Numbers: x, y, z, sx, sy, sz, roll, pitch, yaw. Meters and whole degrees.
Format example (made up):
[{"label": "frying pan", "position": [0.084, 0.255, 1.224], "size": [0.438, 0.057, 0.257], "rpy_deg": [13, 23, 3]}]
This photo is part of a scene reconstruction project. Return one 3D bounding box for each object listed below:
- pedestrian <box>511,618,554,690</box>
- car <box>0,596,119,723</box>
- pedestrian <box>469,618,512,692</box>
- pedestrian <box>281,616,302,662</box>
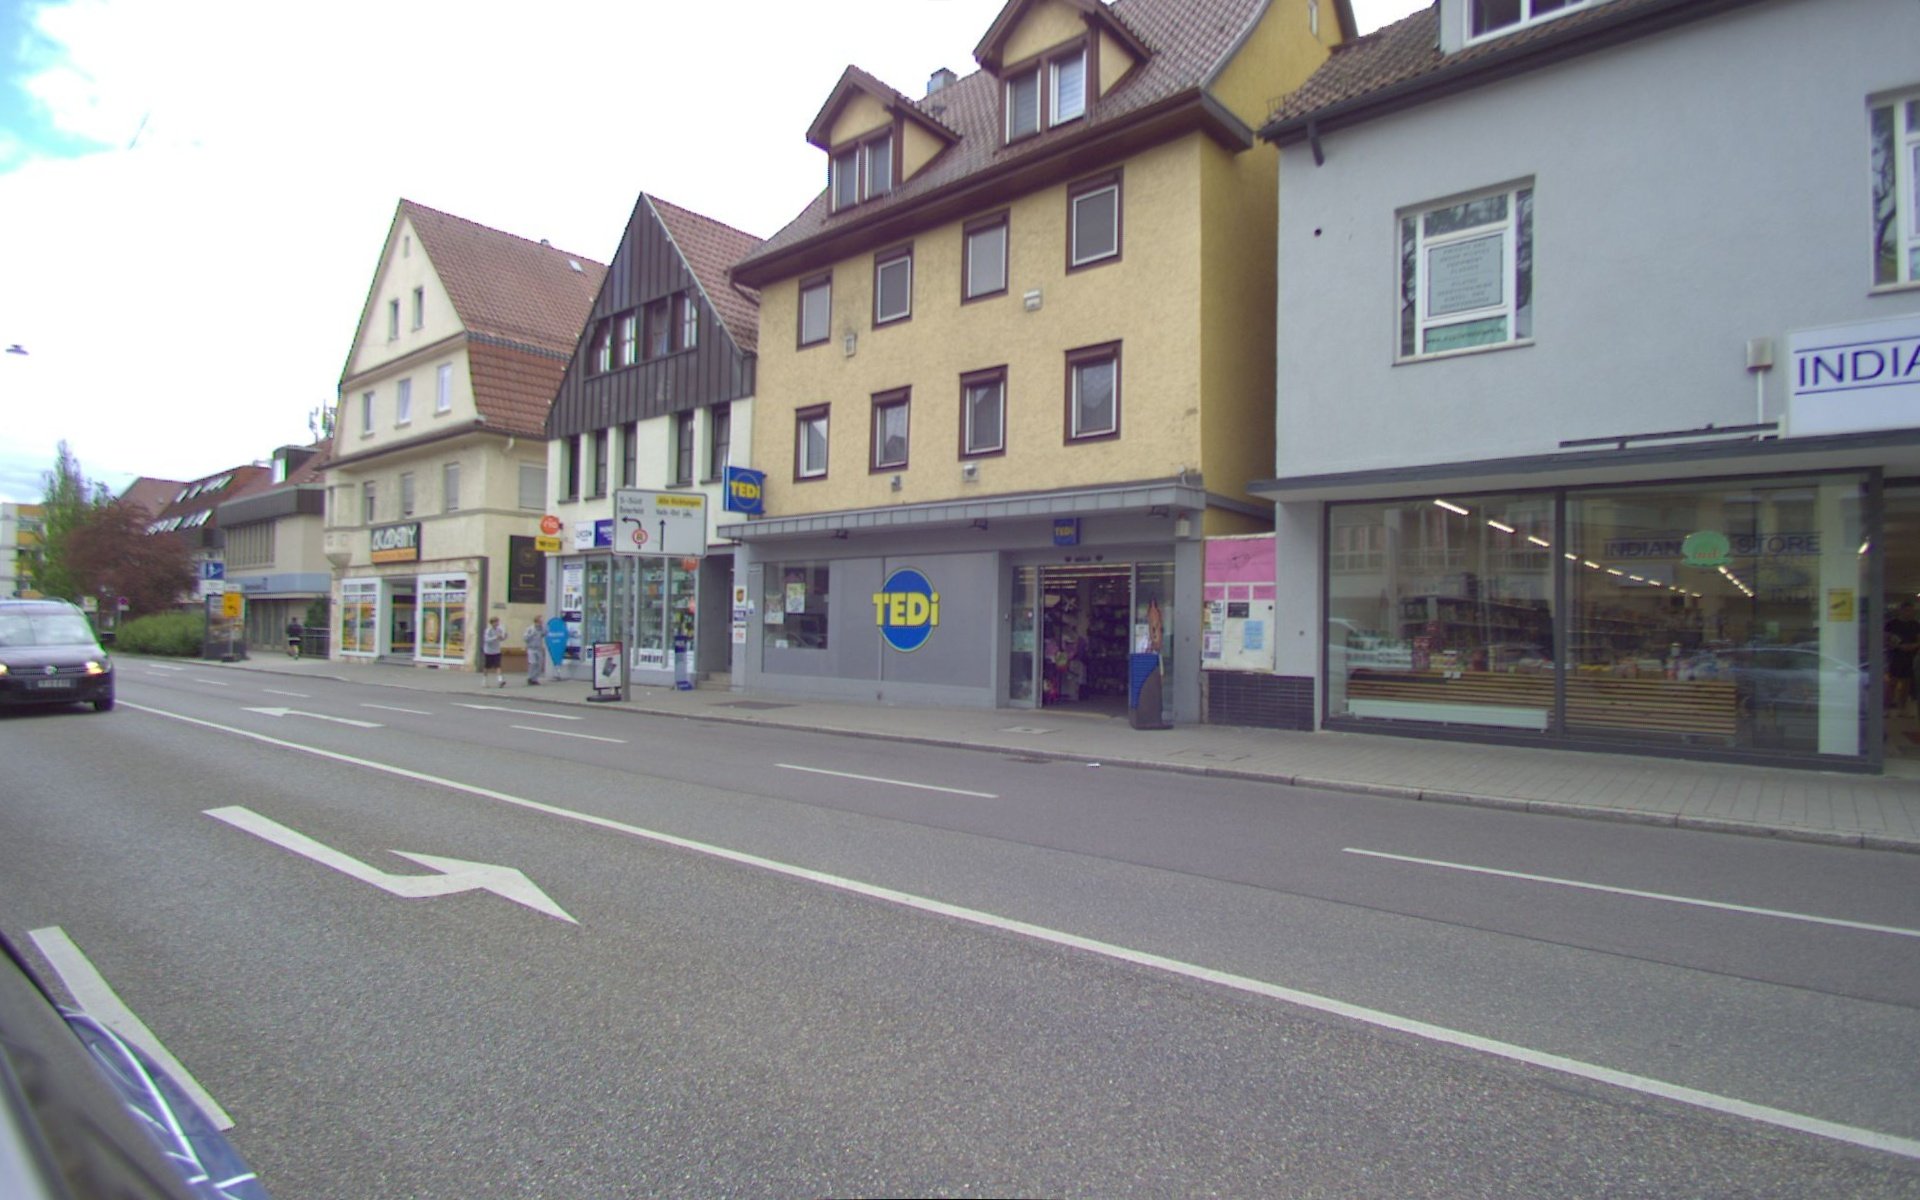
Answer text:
[{"label": "pedestrian", "position": [-10.360, 1.285, 24.544], "size": [0.709, 1.683, 0.680], "rpy_deg": [-1, 0, 41]}, {"label": "car", "position": [-15.513, 0.907, 16.804], "size": [4.632, 1.869, 1.726], "rpy_deg": [-1, -1, 42]}, {"label": "pedestrian", "position": [-11.119, 1.293, 23.949], "size": [0.742, 1.703, 0.680], "rpy_deg": [-1, -1, 41]}, {"label": "pedestrian", "position": [-27.903, 1.613, 42.234], "size": [0.592, 1.903, 0.544], "rpy_deg": [-1, -1, 37]}]
